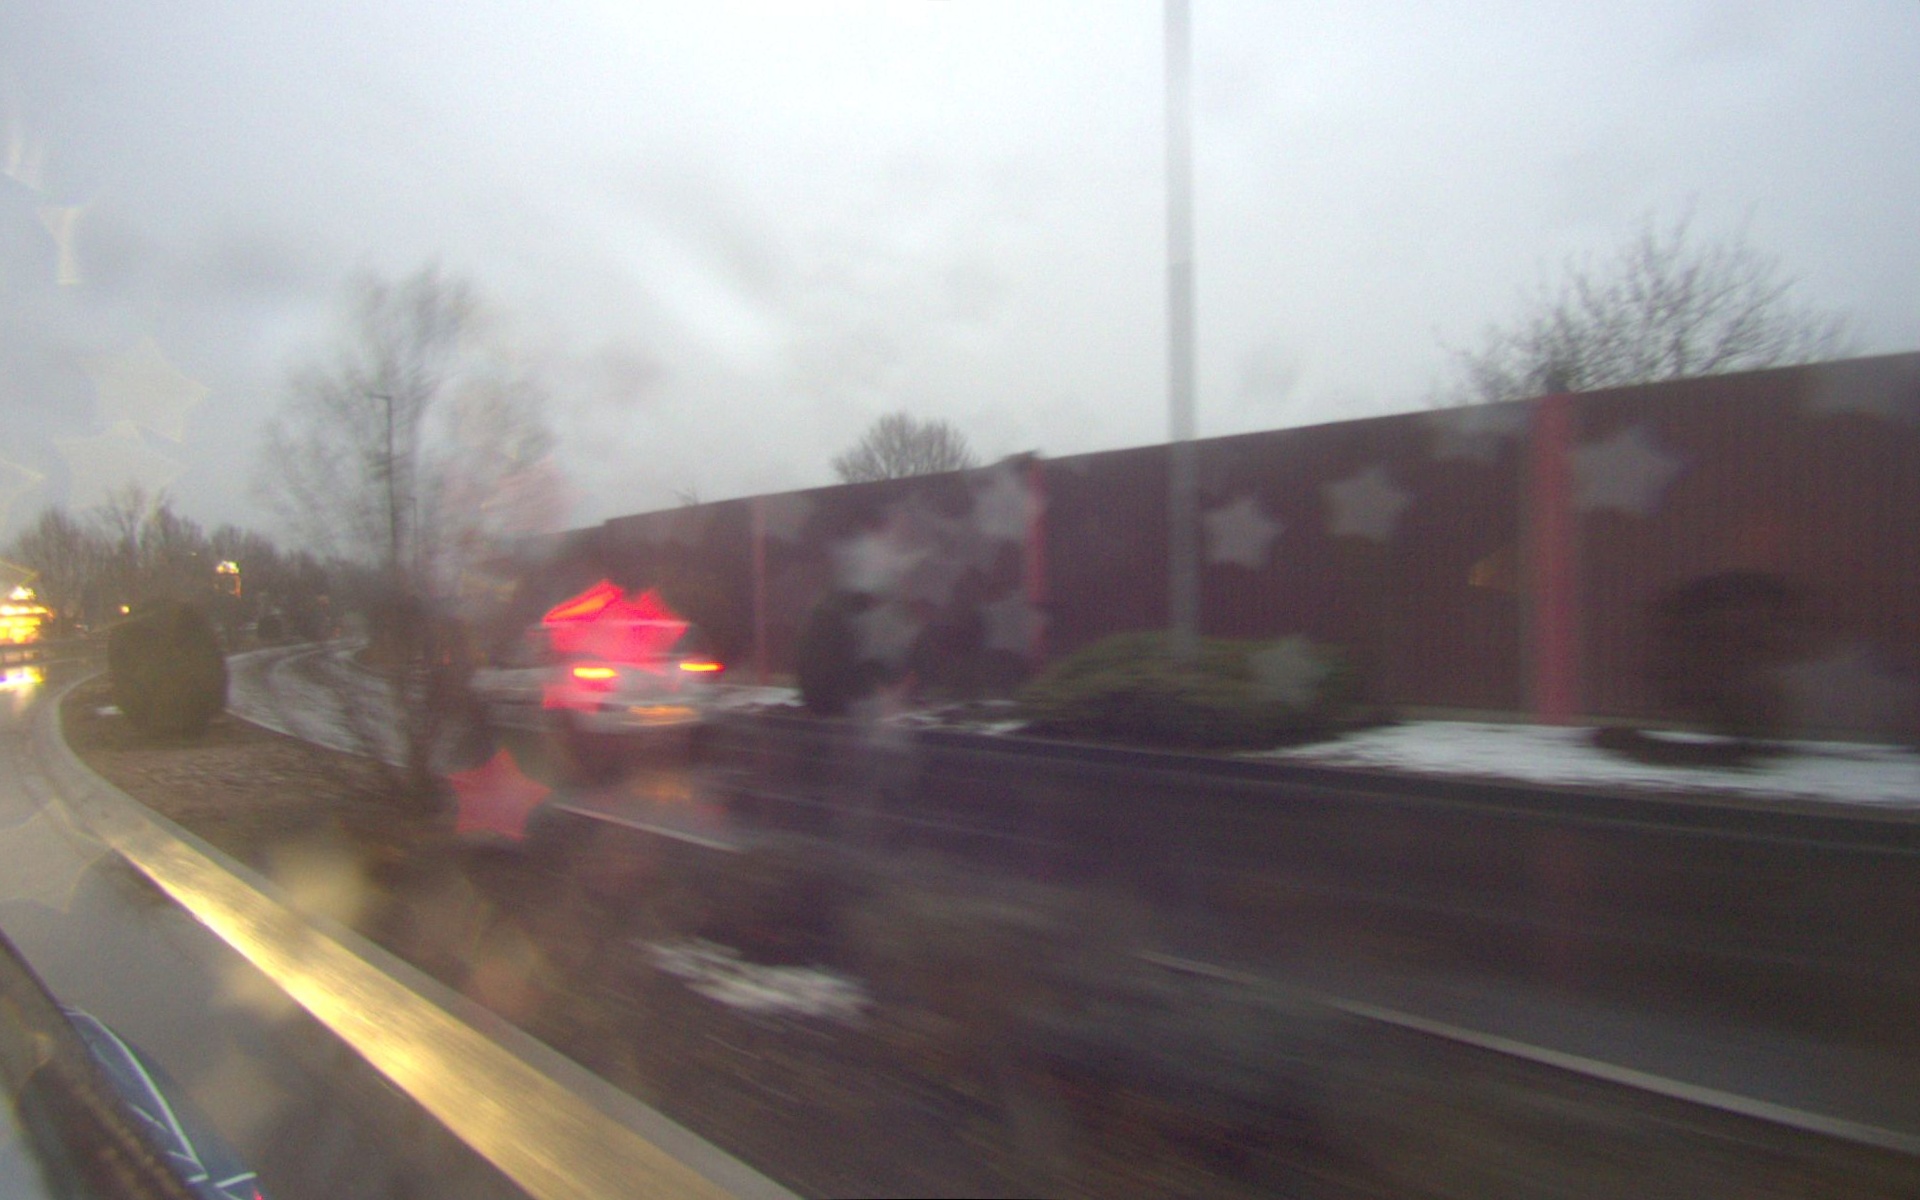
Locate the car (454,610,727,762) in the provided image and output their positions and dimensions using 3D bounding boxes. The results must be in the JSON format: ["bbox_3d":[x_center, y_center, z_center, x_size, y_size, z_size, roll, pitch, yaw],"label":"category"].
[{"bbox_3d":[-4.431,0.888,11.870,3.687,1.480,1.589,-2,-1,45],"label":"car"}]

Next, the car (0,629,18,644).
[{"bbox_3d":[-105.431,3.987,110.124,3.944,1.609,1.812,0,0,-25],"label":"car"}]
